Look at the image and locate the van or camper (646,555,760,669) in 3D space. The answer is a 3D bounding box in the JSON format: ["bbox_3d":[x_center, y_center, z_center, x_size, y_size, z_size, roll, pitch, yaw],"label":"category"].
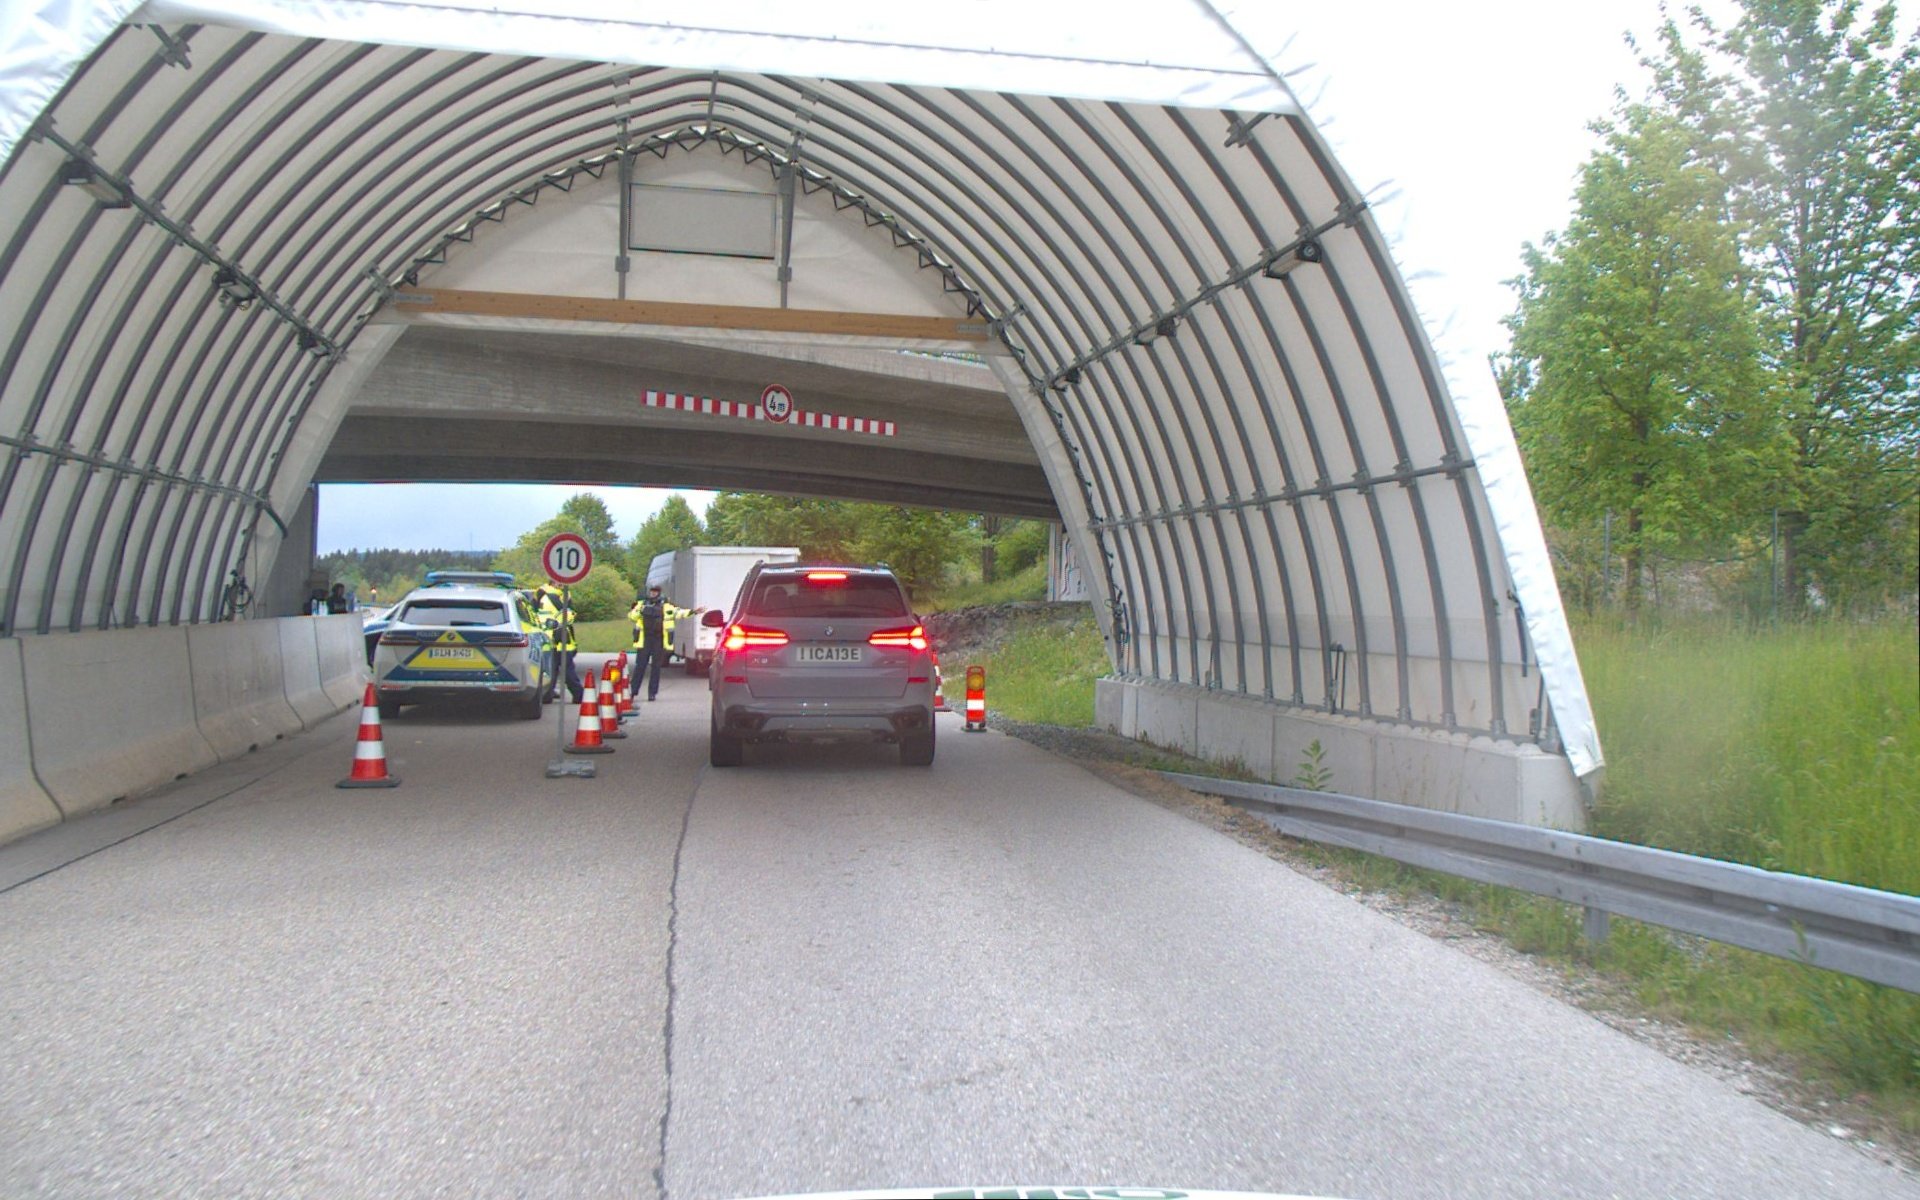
[{"bbox_3d":[-6.350,0.265,40.359,2.070,2.563,5.526,0,0,-16],"label":"van or camper"}]

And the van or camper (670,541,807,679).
[{"bbox_3d":[-4.752,0.188,34.497,2.192,2.597,6.588,0,0,-13],"label":"van or camper"}]

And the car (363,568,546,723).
[{"bbox_3d":[-6.050,0.496,20.173,1.845,1.675,3.986,0,0,-13],"label":"car"}]

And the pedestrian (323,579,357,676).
[{"bbox_3d":[-13.156,0.580,35.107,0.614,2.049,0.653,0,0,-15],"label":"pedestrian"}]

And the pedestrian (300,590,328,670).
[{"bbox_3d":[-12.841,0.593,32.875,0.494,1.573,0.460,0,0,-19],"label":"pedestrian"}]

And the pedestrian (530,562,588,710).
[{"bbox_3d":[-5.423,0.478,22.399,0.736,1.952,0.760,0,0,-14],"label":"pedestrian"}]

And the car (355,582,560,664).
[{"bbox_3d":[-12.889,0.573,42.522,4.703,2.049,1.842,0,0,8],"label":"car"}]

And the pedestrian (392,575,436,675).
[{"bbox_3d":[-11.292,0.504,34.212,0.686,2.049,0.692,0,0,0],"label":"pedestrian"}]

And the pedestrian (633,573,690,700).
[{"bbox_3d":[-4.234,0.508,23.414,0.766,1.752,0.754,0,0,-12],"label":"pedestrian"}]

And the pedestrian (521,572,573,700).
[{"bbox_3d":[-5.853,0.501,23.469,0.597,1.784,0.665,0,0,-5],"label":"pedestrian"}]

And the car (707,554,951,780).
[{"bbox_3d":[-1.316,0.535,15.346,1.956,1.796,3.993,0,0,-8],"label":"car"}]
